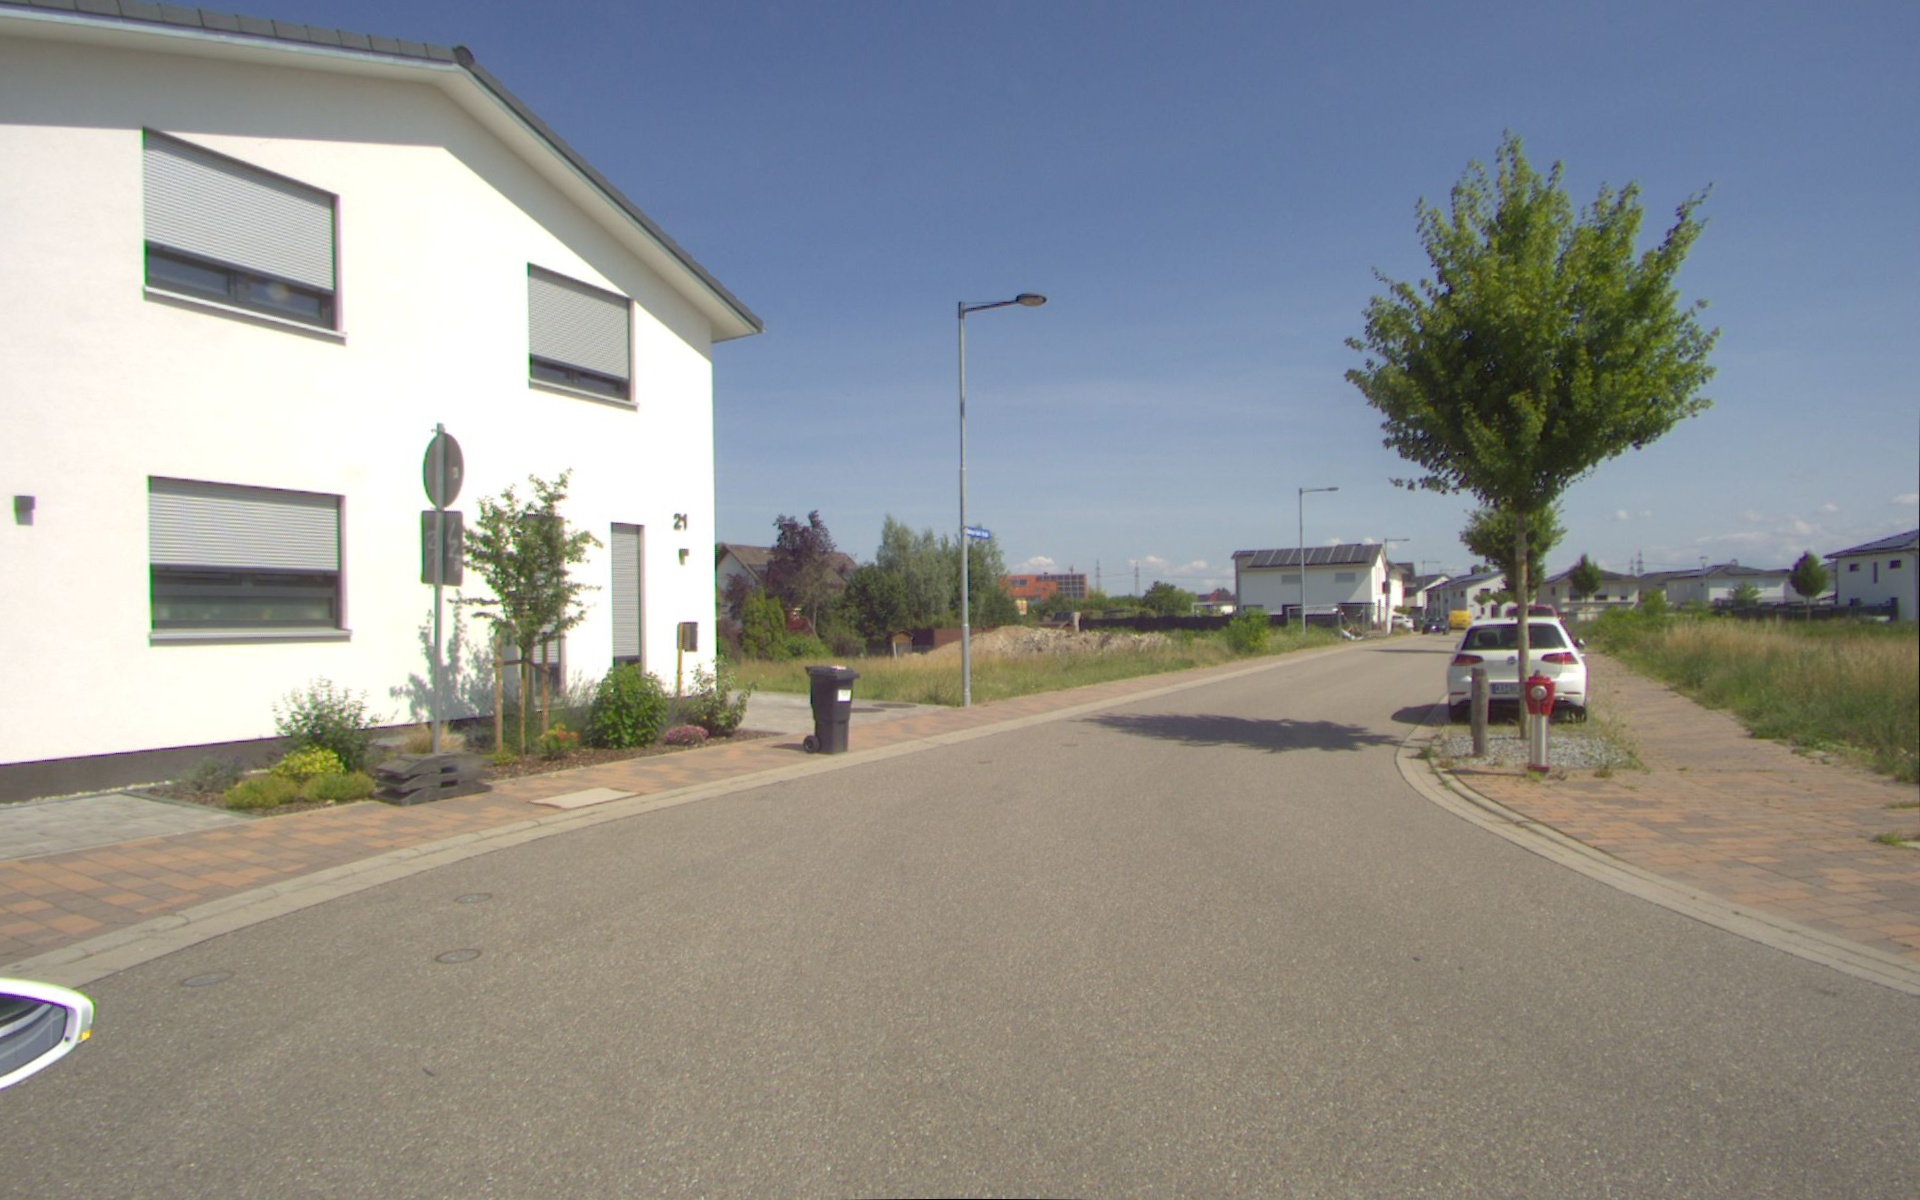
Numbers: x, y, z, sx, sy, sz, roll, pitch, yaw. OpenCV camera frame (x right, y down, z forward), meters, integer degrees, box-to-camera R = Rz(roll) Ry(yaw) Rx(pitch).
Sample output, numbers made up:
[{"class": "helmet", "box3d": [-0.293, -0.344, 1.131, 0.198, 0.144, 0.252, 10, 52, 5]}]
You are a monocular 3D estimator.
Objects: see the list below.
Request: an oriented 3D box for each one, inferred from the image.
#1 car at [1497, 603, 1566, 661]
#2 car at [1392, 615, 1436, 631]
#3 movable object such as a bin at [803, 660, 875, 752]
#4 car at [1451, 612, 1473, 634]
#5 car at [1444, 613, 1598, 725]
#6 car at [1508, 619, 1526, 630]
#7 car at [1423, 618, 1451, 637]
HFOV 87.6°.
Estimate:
[{"class": "car", "box3d": [18.279, 0.995, 32.105, 1.756, 1.684, 4.414, -2, -1, 29]}, {"class": "car", "box3d": [49.586, 2.478, 109.461, 4.097, 1.524, 1.814, 3, 0, 15]}, {"class": "movable object such as a bin", "box3d": [-1.324, 1.144, 10.990, 0.615, 0.960, 0.498, -1, -1, 26]}, {"class": "car", "box3d": [48.833, 2.257, 97.464, 1.917, 2.006, 4.204, -1, -2, 26]}, {"class": "car", "box3d": [8.576, 0.974, 15.326, 1.755, 1.438, 4.146, -3, -2, 30]}, {"class": "car", "box3d": [71.615, 3.163, 128.700, 1.606, 1.338, 3.826, -1, -3, 23]}, {"class": "car", "box3d": [38.335, 2.172, 80.477, 1.724, 1.423, 4.142, 2, 0, 29]}]
